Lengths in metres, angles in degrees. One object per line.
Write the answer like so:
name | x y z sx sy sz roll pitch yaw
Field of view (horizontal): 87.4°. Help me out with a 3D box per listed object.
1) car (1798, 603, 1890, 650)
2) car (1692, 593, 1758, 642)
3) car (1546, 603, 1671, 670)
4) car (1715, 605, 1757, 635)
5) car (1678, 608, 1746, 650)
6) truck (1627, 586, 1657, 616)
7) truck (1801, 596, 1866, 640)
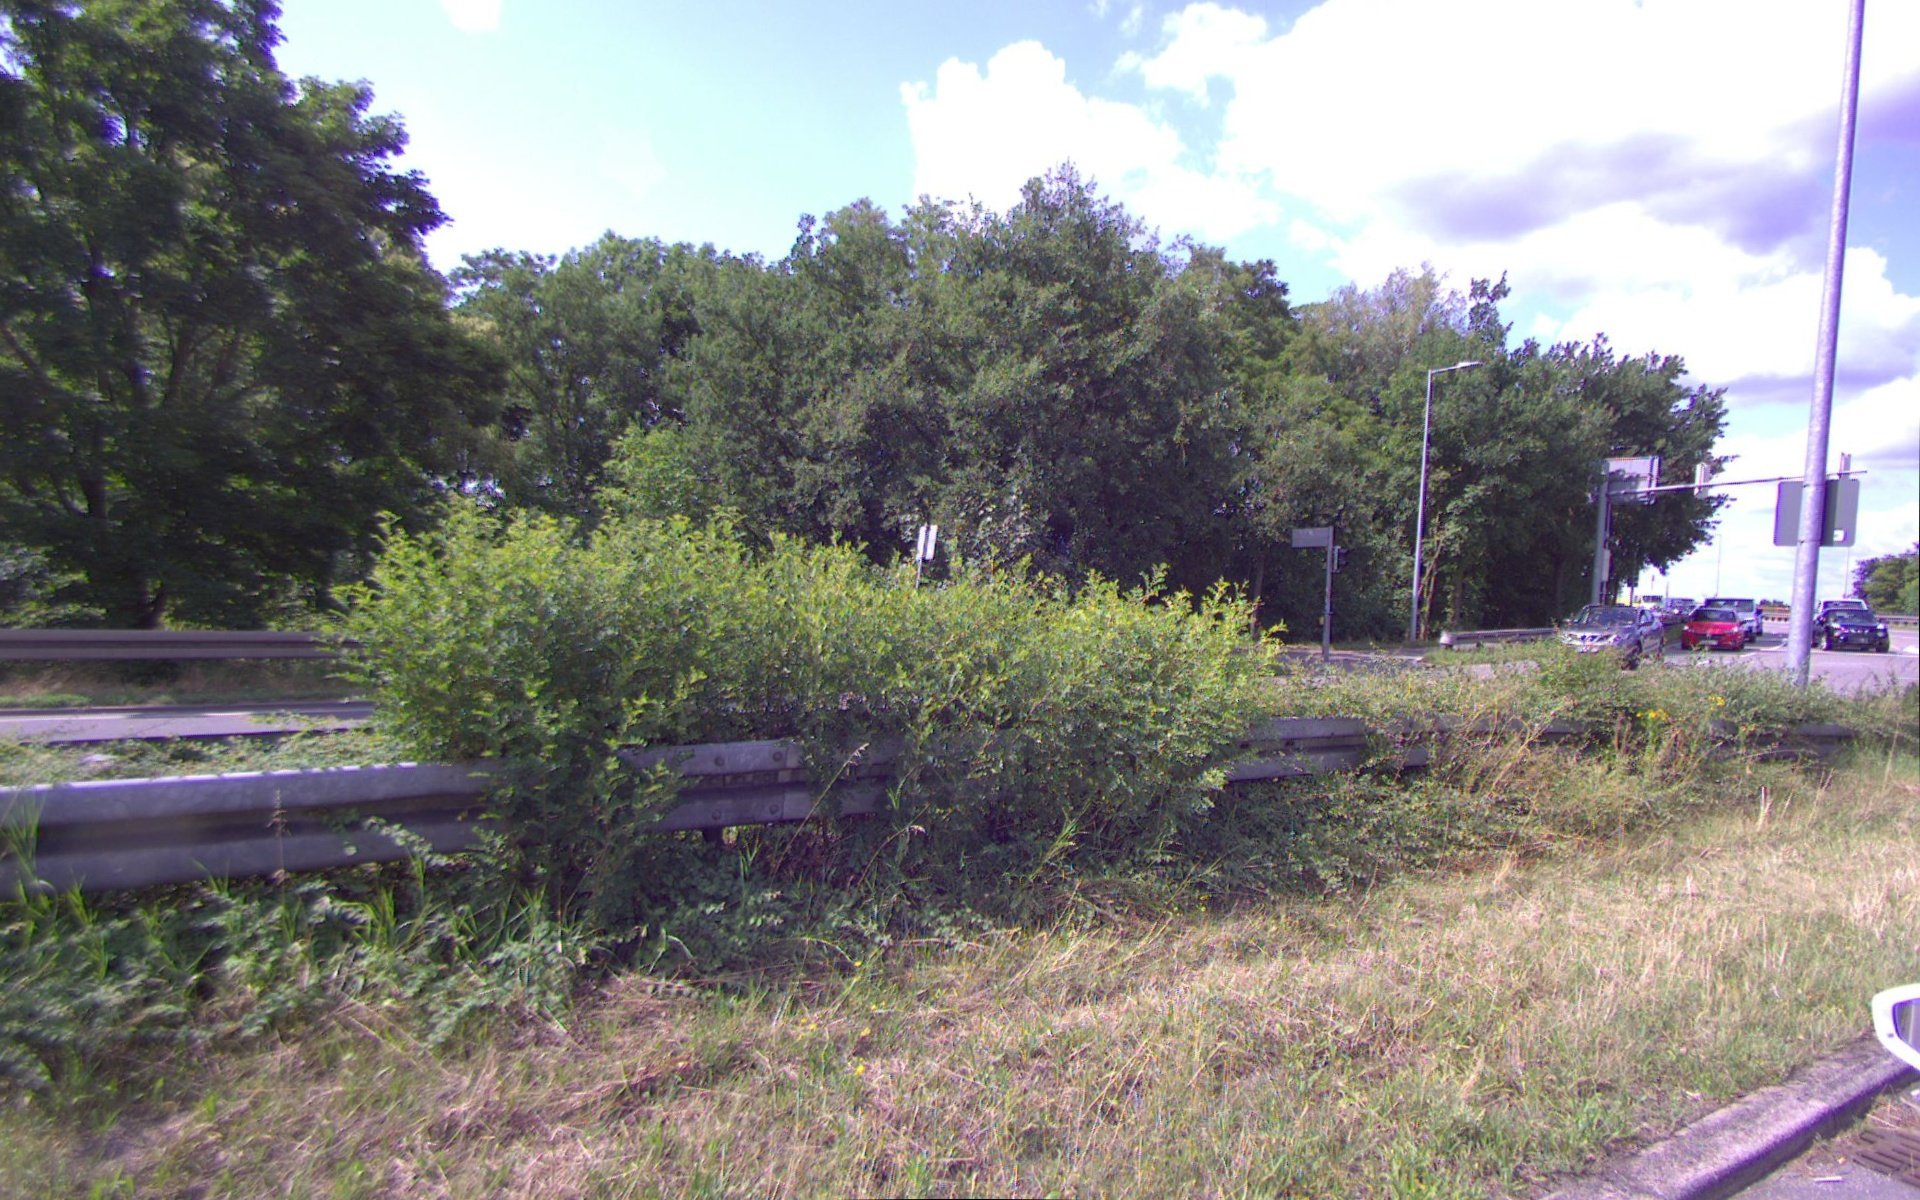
car | 32.374 0.938 36.893 1.672 1.578 3.815 1 1 29
car | 33.886 0.786 44.623 1.966 2.040 5.121 0 -1 33
car | 16.972 0.917 26.200 4.249 1.607 1.695 1 -1 -42
car | 41.647 1.065 53.958 1.711 1.541 4.053 0 0 37
car | 27.425 1.029 36.604 1.564 1.451 3.977 1 0 43
truck | 64.119 0.079 94.436 1.969 2.656 6.078 0 0 38
truck | 42.404 0.825 48.867 1.935 1.938 5.350 2 1 37
